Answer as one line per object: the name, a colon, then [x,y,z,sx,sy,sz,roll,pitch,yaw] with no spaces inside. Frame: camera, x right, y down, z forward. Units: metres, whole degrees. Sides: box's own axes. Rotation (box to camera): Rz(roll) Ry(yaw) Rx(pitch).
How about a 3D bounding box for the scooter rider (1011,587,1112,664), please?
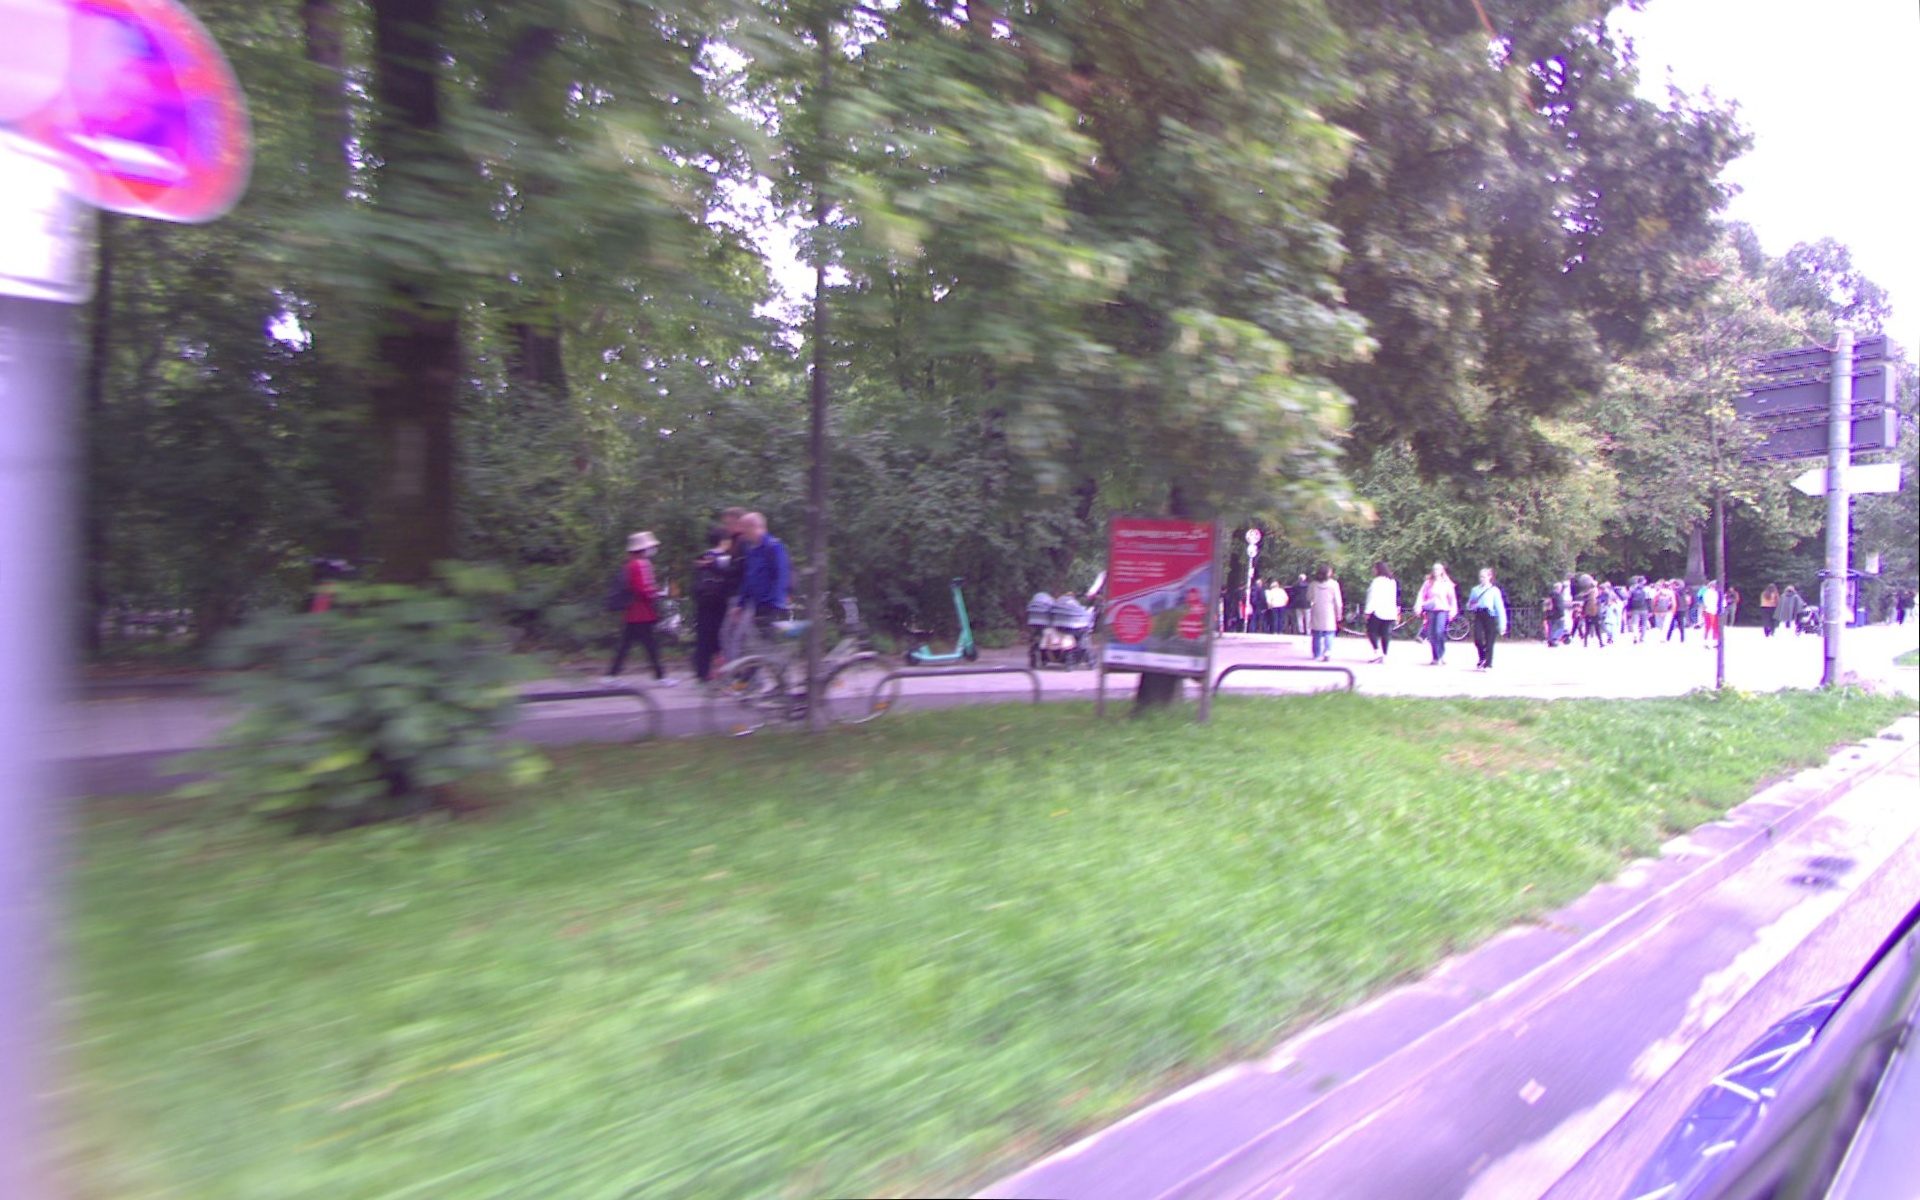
scooter rider: [1.390,0.333,13.801,1.095,0.997,0.857,1,0,-41]

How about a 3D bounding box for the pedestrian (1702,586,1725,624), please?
pedestrian: [30.554,0.182,41.049,0.523,1.526,0.637,0,0,-39]

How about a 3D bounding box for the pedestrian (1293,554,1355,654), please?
pedestrian: [6.284,0.064,17.494,0.676,1.664,0.758,0,0,-26]

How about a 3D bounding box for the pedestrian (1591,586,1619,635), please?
pedestrian: [17.811,0.286,27.932,0.636,1.343,0.459,0,0,-36]

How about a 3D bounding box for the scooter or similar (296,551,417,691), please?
scooter or similar: [-5.479,0.183,9.207,0.909,1.239,0.306,1,1,-1]

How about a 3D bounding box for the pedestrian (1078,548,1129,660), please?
pedestrian: [2.073,0.052,14.661,0.561,1.586,0.487,0,0,-26]

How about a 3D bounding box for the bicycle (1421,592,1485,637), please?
bicycle: [13.831,0.392,28.442,1.581,1.255,0.389,0,0,22]

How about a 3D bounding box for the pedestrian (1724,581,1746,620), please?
pedestrian: [32.725,0.028,42.755,0.523,1.647,0.637,0,0,-39]

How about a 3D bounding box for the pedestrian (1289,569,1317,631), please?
pedestrian: [9.481,-0.003,28.003,0.683,1.717,0.609,0,0,14]

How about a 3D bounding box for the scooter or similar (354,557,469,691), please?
scooter or similar: [-5.171,0.220,9.562,0.909,1.239,0.306,1,1,-1]

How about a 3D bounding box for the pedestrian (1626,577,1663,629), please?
pedestrian: [23.423,0.087,34.645,0.715,1.711,0.814,0,2,-39]

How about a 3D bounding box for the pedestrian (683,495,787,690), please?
pedestrian: [-2.239,-0.073,10.075,0.835,1.845,0.589,0,0,-41]

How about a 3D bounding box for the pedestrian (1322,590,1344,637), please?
pedestrian: [11.990,0.435,32.523,0.507,1.492,0.409,0,0,-19]

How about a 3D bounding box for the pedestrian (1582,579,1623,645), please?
pedestrian: [15.777,0.289,24.879,0.683,1.598,0.609,0,0,14]

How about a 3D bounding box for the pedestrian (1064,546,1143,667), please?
pedestrian: [1.965,0.082,13.863,0.857,1.586,0.682,0,0,-41]

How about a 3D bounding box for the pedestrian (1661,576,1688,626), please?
pedestrian: [24.584,0.040,34.820,0.715,1.712,0.593,0,0,-39]

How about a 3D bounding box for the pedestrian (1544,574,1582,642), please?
pedestrian: [15.143,0.202,25.410,0.683,1.672,0.608,0,0,16]

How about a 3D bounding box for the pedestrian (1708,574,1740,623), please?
pedestrian: [29.468,-0.067,39.035,0.715,1.852,0.814,0,0,-39]

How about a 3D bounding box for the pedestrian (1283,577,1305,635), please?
pedestrian: [10.399,0.186,31.532,0.507,1.785,0.409,0,0,-19]

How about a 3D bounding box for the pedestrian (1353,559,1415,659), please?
pedestrian: [7.298,0.148,17.434,0.637,1.664,0.758,0,0,-26]

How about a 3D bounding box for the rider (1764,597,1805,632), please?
rider: [27.468,0.474,33.710,1.221,1.126,0.767,0,0,-37]

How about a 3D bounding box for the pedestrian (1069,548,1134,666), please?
pedestrian: [1.903,0.086,13.620,0.552,1.534,0.682,0,0,-40]

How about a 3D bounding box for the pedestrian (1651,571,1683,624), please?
pedestrian: [25.621,-0.108,36.673,0.715,1.898,0.814,0,0,-39]

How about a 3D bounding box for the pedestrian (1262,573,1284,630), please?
pedestrian: [9.905,0.057,32.038,0.427,1.785,0.528,0,0,-19]

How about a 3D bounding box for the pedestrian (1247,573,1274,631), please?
pedestrian: [9.434,0.058,31.755,0.540,1.785,0.612,0,0,-19]

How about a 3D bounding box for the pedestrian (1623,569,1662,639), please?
pedestrian: [18.804,0.095,27.884,0.678,1.896,0.612,0,0,-25]

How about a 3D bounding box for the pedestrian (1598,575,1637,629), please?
pedestrian: [21.478,0.071,33.065,0.715,1.711,0.814,0,2,-39]

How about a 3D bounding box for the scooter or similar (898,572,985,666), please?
scooter or similar: [-0.239,0.246,13.680,1.197,1.214,0.418,0,0,-41]

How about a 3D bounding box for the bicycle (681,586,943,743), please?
bicycle: [-1.024,0.419,7.469,2.043,1.034,0.385,0,0,-41]

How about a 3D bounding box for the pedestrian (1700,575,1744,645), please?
pedestrian: [19.158,0.242,25.436,0.636,1.712,0.728,0,0,-36]

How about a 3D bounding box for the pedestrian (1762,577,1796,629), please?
pedestrian: [27.155,0.103,33.558,0.636,1.712,0.728,0,0,-36]

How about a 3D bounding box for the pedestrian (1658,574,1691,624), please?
pedestrian: [26.210,-0.028,37.131,0.715,1.813,0.814,0,0,-39]

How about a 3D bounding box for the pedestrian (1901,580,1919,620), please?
pedestrian: [46.772,-0.020,49.705,0.940,1.939,0.709,0,0,-42]

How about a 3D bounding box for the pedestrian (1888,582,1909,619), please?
pedestrian: [47.284,0.019,50.987,0.934,1.831,0.709,0,0,-42]

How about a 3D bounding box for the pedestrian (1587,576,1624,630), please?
pedestrian: [20.713,0.084,32.472,0.715,1.712,0.814,0,0,-39]

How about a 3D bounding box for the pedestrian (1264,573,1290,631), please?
pedestrian: [9.749,0.063,31.134,0.556,1.785,0.523,0,0,-10]

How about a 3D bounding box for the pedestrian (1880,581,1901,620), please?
pedestrian: [46.676,0.032,50.753,0.940,1.939,0.709,0,0,-42]

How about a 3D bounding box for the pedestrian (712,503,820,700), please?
pedestrian: [-1.838,0.014,9.556,0.832,1.759,0.758,0,0,-26]

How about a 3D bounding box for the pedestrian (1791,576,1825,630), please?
pedestrian: [27.604,0.098,32.958,0.636,1.712,0.728,0,0,-36]

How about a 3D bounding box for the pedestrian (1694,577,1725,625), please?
pedestrian: [28.664,0.035,38.709,0.715,1.790,0.814,0,0,-39]

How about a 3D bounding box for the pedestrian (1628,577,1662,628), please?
pedestrian: [23.901,0.081,35.296,0.715,1.761,0.814,0,0,-39]

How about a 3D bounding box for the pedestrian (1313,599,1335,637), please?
pedestrian: [11.861,0.571,32.969,0.507,1.213,0.409,0,0,-19]

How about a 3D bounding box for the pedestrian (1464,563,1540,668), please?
pedestrian: [8.878,0.241,16.601,0.832,1.664,0.758,0,0,-26]

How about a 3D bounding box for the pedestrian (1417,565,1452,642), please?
pedestrian: [11.896,0.082,25.383,0.683,1.896,0.609,0,0,14]

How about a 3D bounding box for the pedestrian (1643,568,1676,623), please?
pedestrian: [25.029,-0.168,36.216,0.715,1.941,0.814,0,0,-39]

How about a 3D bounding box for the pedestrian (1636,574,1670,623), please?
pedestrian: [24.481,-0.057,35.757,0.715,1.712,0.814,0,0,-39]

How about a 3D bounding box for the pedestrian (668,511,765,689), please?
pedestrian: [-2.532,-0.004,10.500,0.832,1.759,0.758,0,0,-26]

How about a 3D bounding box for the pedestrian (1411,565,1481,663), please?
pedestrian: [8.436,0.232,17.579,0.832,1.664,0.758,0,0,-26]

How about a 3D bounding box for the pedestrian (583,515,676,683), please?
pedestrian: [-3.418,-0.014,10.468,0.679,1.658,0.655,0,0,37]

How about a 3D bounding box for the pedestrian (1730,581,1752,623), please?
pedestrian: [33.308,0.086,43.146,0.523,1.790,0.637,0,0,-39]

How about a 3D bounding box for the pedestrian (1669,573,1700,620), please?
pedestrian: [26.840,-0.125,37.493,0.661,1.712,0.814,0,0,-39]

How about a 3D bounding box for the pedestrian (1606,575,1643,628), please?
pedestrian: [22.049,0.037,33.594,0.715,1.712,0.814,0,1,-39]

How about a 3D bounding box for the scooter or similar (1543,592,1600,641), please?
scooter or similar: [16.219,0.422,26.866,0.341,1.272,1.570,0,0,-11]

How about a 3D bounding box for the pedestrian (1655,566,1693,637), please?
pedestrian: [19.630,0.043,27.827,0.678,1.939,0.612,0,0,-25]

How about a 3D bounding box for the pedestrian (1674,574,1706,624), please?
pedestrian: [27.388,-0.039,37.949,0.715,1.875,0.814,0,0,-39]

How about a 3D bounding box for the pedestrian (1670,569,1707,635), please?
pedestrian: [21.145,0.046,29.387,0.678,1.896,0.612,0,0,-25]
